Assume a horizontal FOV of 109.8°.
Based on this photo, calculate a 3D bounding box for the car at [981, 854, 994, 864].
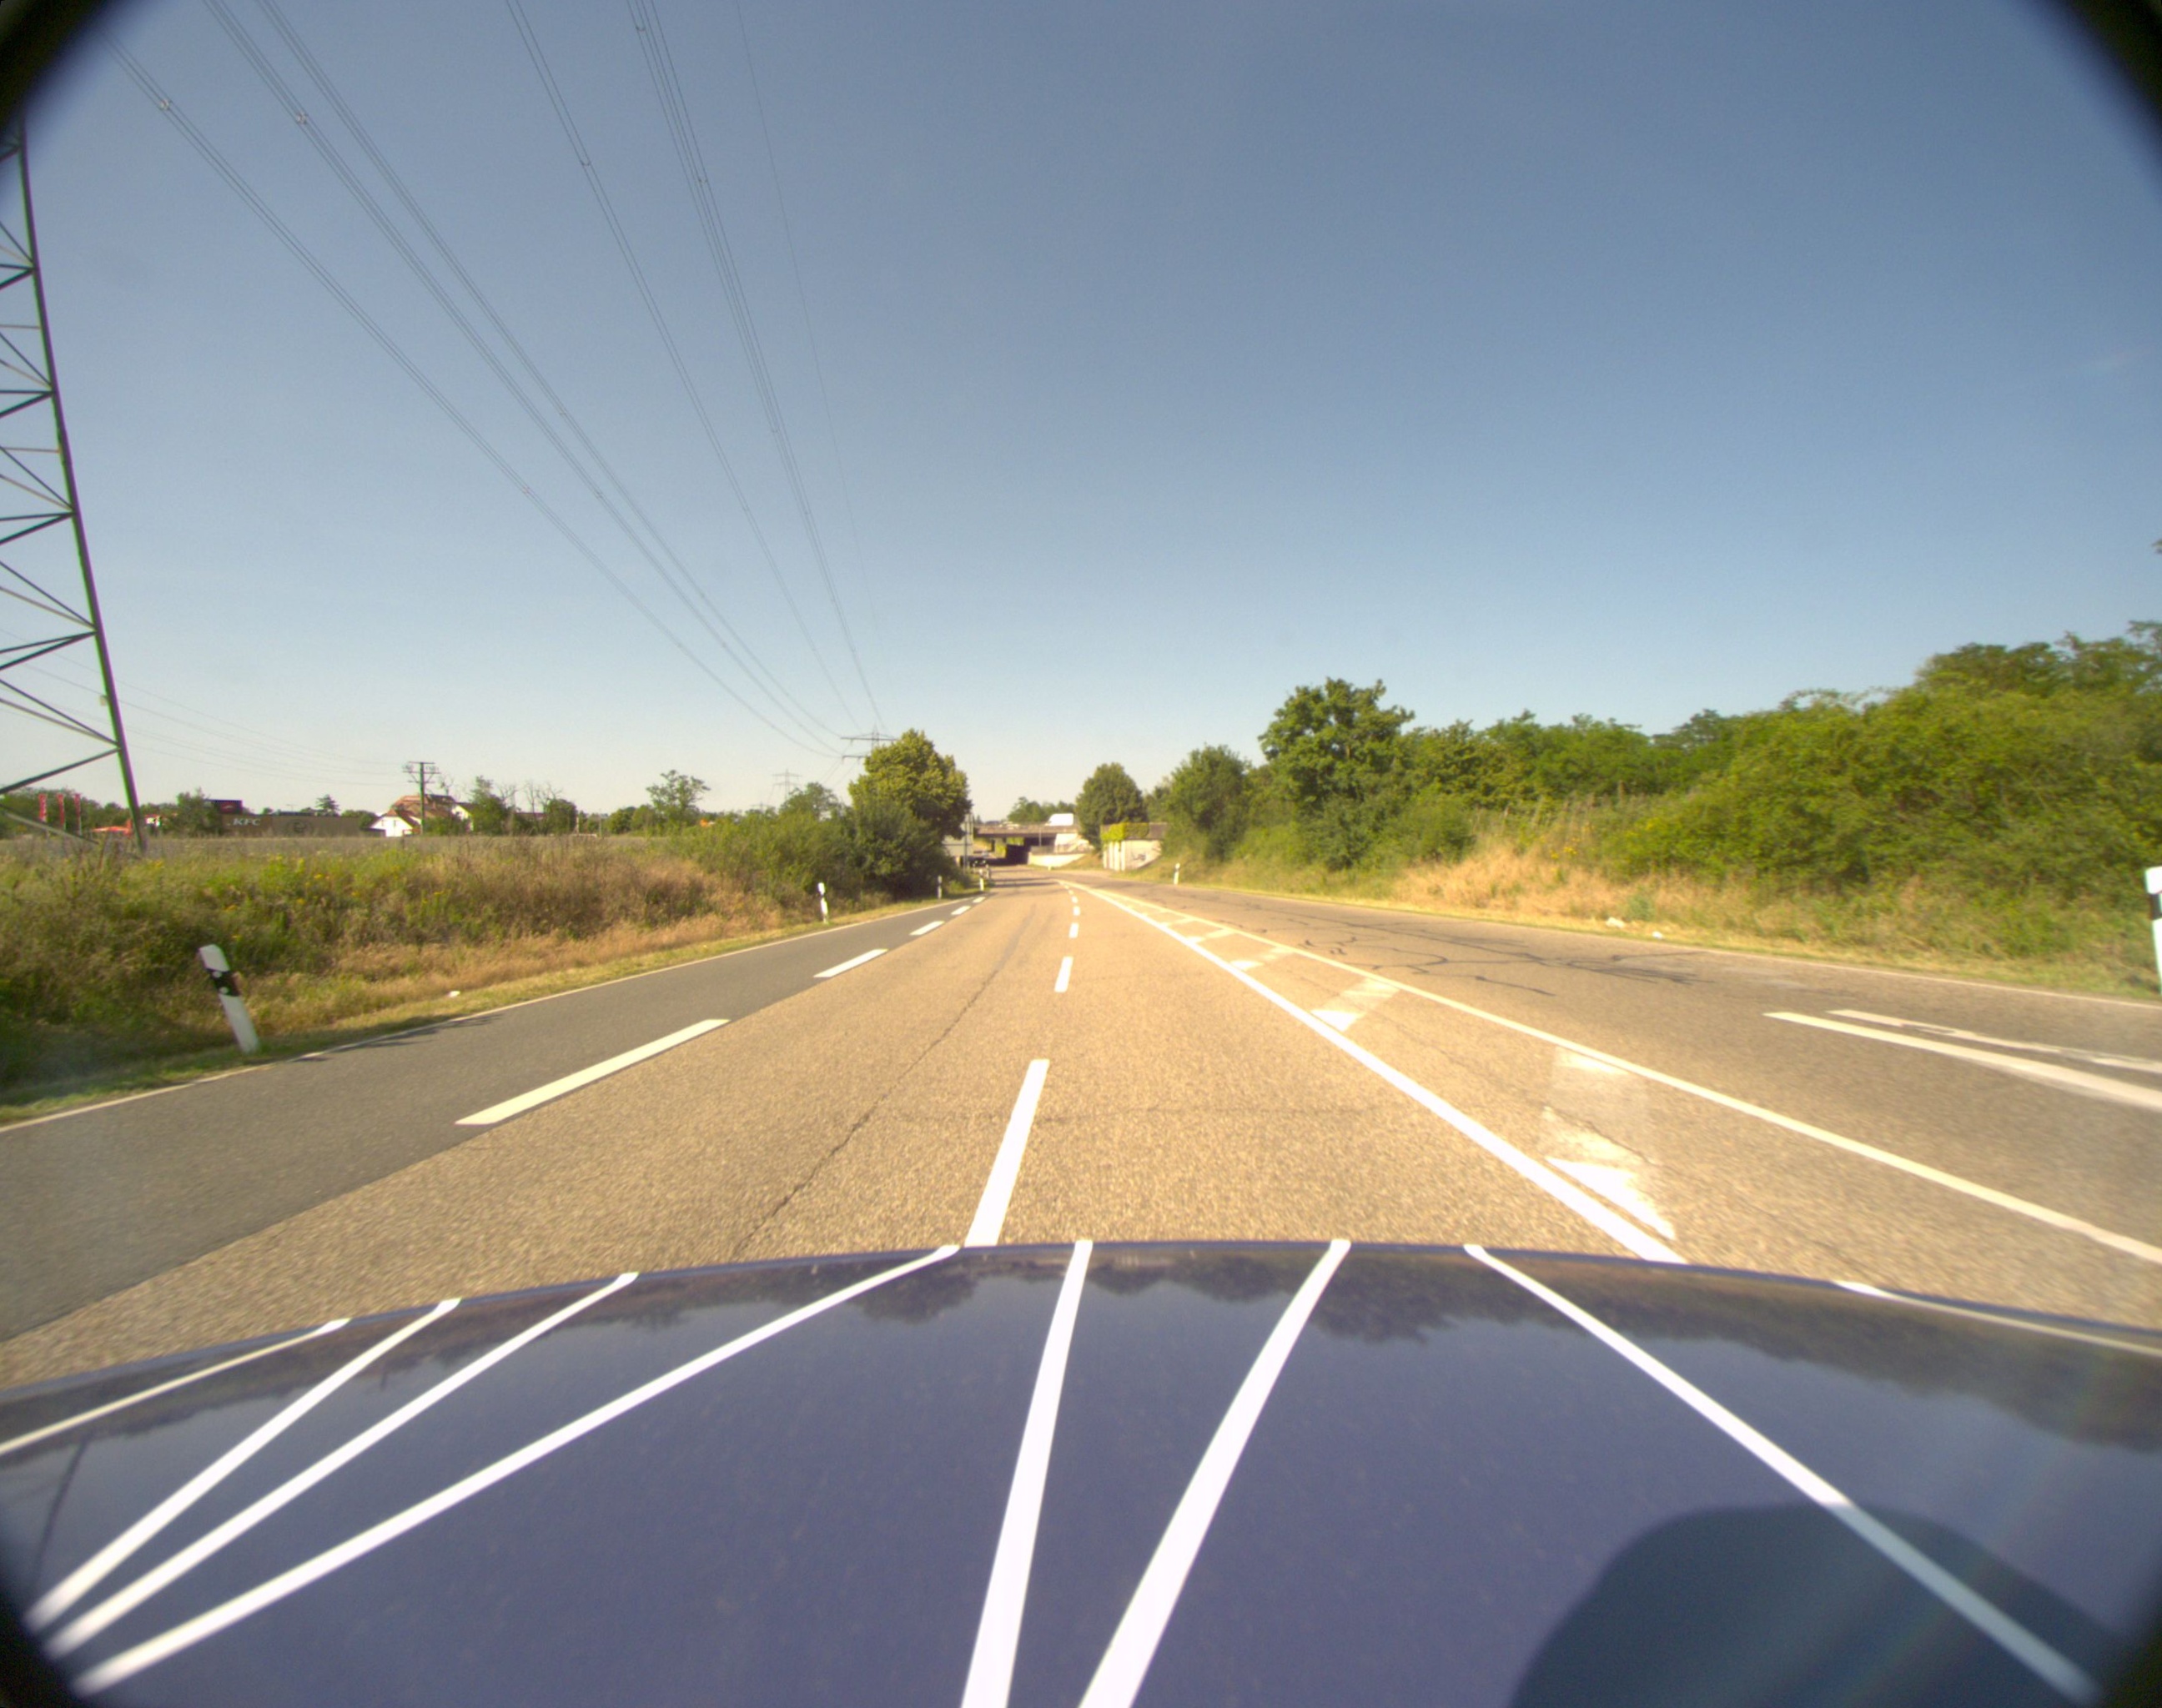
[{"bbox_3d":[-16.456,0.895,133.520,1.861,1.609,3.644,-1,0,-11],"label":"car"}]

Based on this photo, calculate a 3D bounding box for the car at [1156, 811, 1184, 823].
[{"bbox_3d":[15.229,-6.312,129.545,4.328,1.890,1.748,-2,1,27],"label":"car"}]
